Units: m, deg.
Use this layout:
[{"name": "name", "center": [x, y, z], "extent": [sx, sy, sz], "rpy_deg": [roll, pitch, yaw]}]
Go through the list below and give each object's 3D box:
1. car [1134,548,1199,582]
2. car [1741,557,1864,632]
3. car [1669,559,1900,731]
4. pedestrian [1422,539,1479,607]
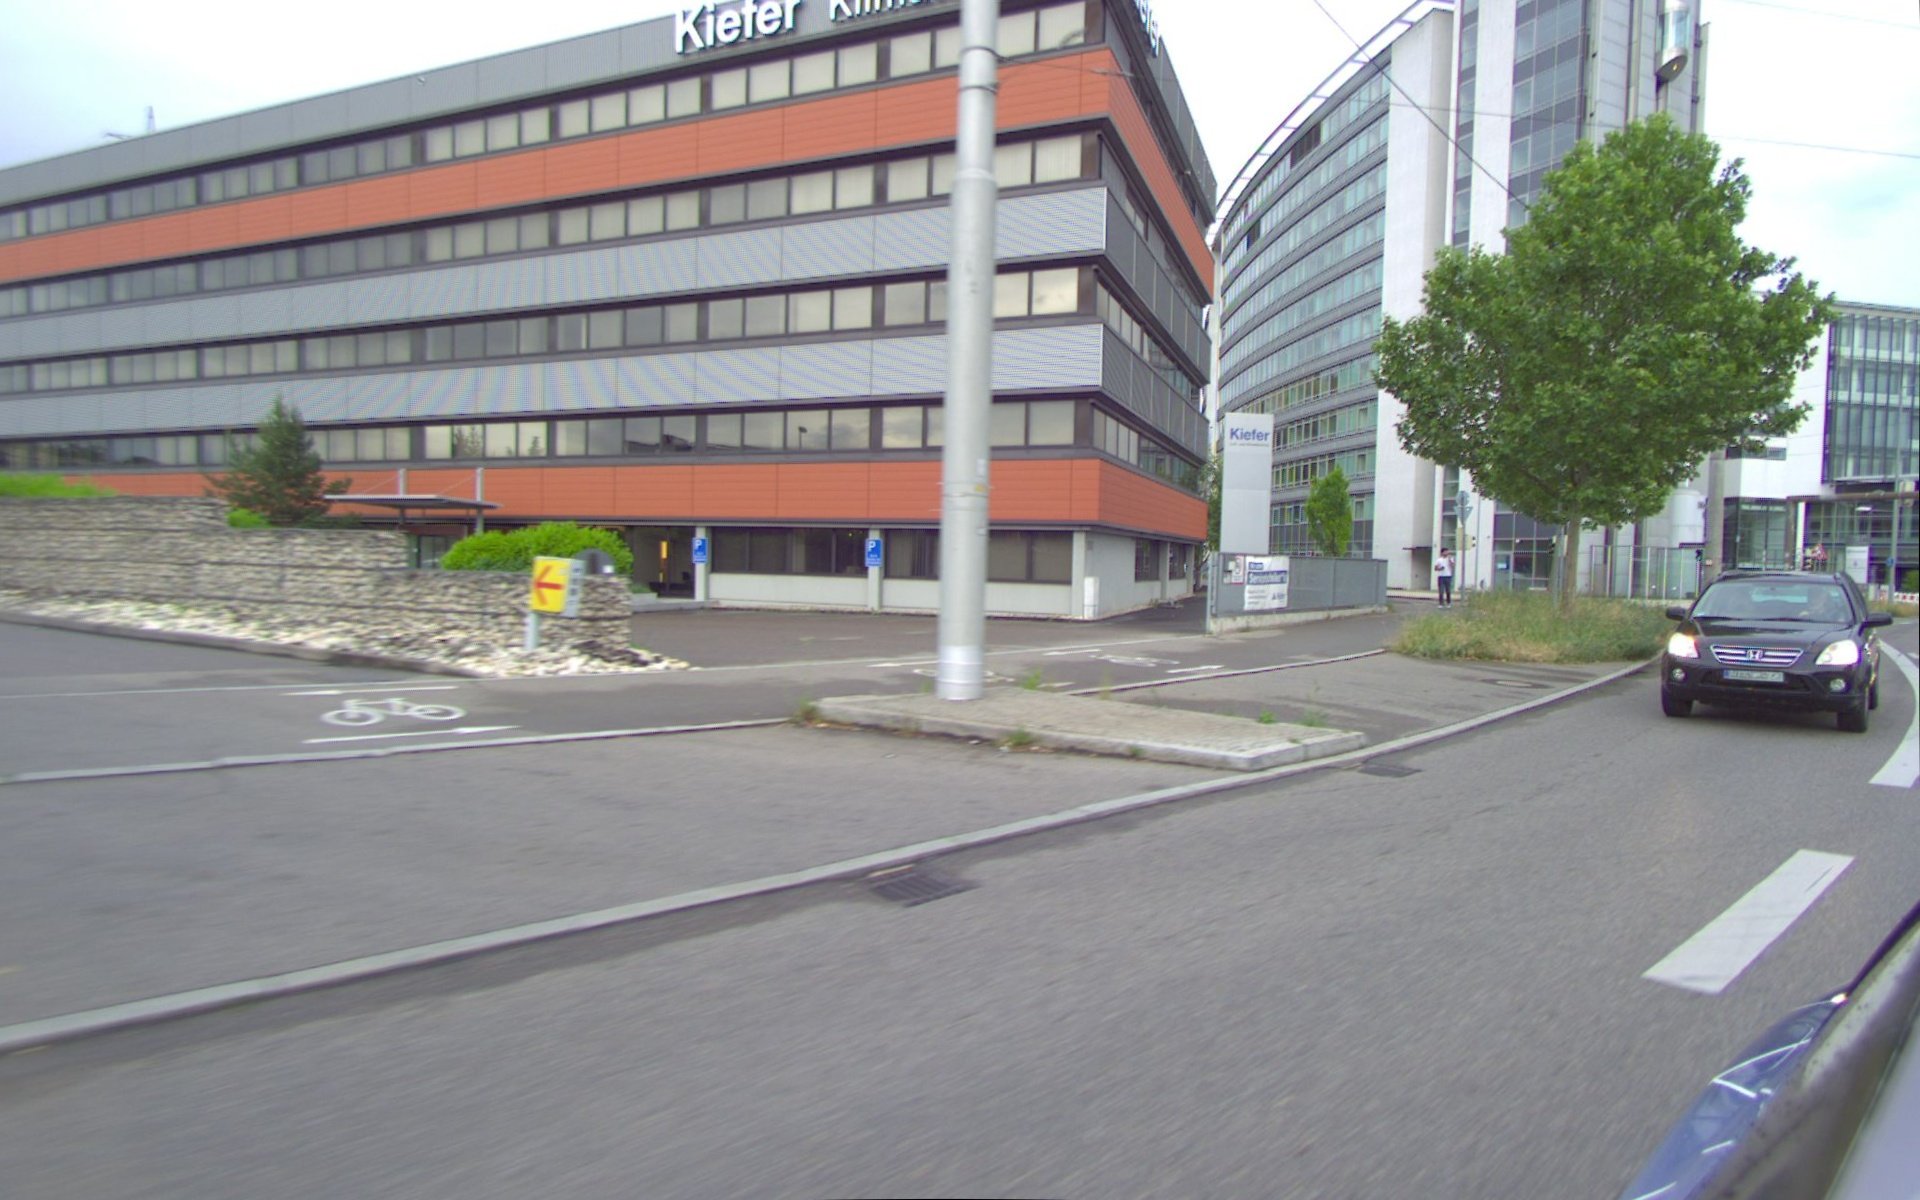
[{"name": "car", "center": [13.488, -2.271, 66.402], "extent": [1.958, 1.939, 5.093], "rpy_deg": [6, 0, -14]}, {"name": "car", "center": [21.526, -0.183, 25.818], "extent": [3.760, 1.699, 1.995], "rpy_deg": [-1, 4, -45]}, {"name": "car", "center": [9.754, 0.397, 11.849], "extent": [1.766, 1.650, 4.256], "rpy_deg": [0, 1, 44]}, {"name": "pedestrian", "center": [15.881, -0.869, 32.758], "extent": [1.197, 2.152, 1.149], "rpy_deg": [0, 0, -23]}]
